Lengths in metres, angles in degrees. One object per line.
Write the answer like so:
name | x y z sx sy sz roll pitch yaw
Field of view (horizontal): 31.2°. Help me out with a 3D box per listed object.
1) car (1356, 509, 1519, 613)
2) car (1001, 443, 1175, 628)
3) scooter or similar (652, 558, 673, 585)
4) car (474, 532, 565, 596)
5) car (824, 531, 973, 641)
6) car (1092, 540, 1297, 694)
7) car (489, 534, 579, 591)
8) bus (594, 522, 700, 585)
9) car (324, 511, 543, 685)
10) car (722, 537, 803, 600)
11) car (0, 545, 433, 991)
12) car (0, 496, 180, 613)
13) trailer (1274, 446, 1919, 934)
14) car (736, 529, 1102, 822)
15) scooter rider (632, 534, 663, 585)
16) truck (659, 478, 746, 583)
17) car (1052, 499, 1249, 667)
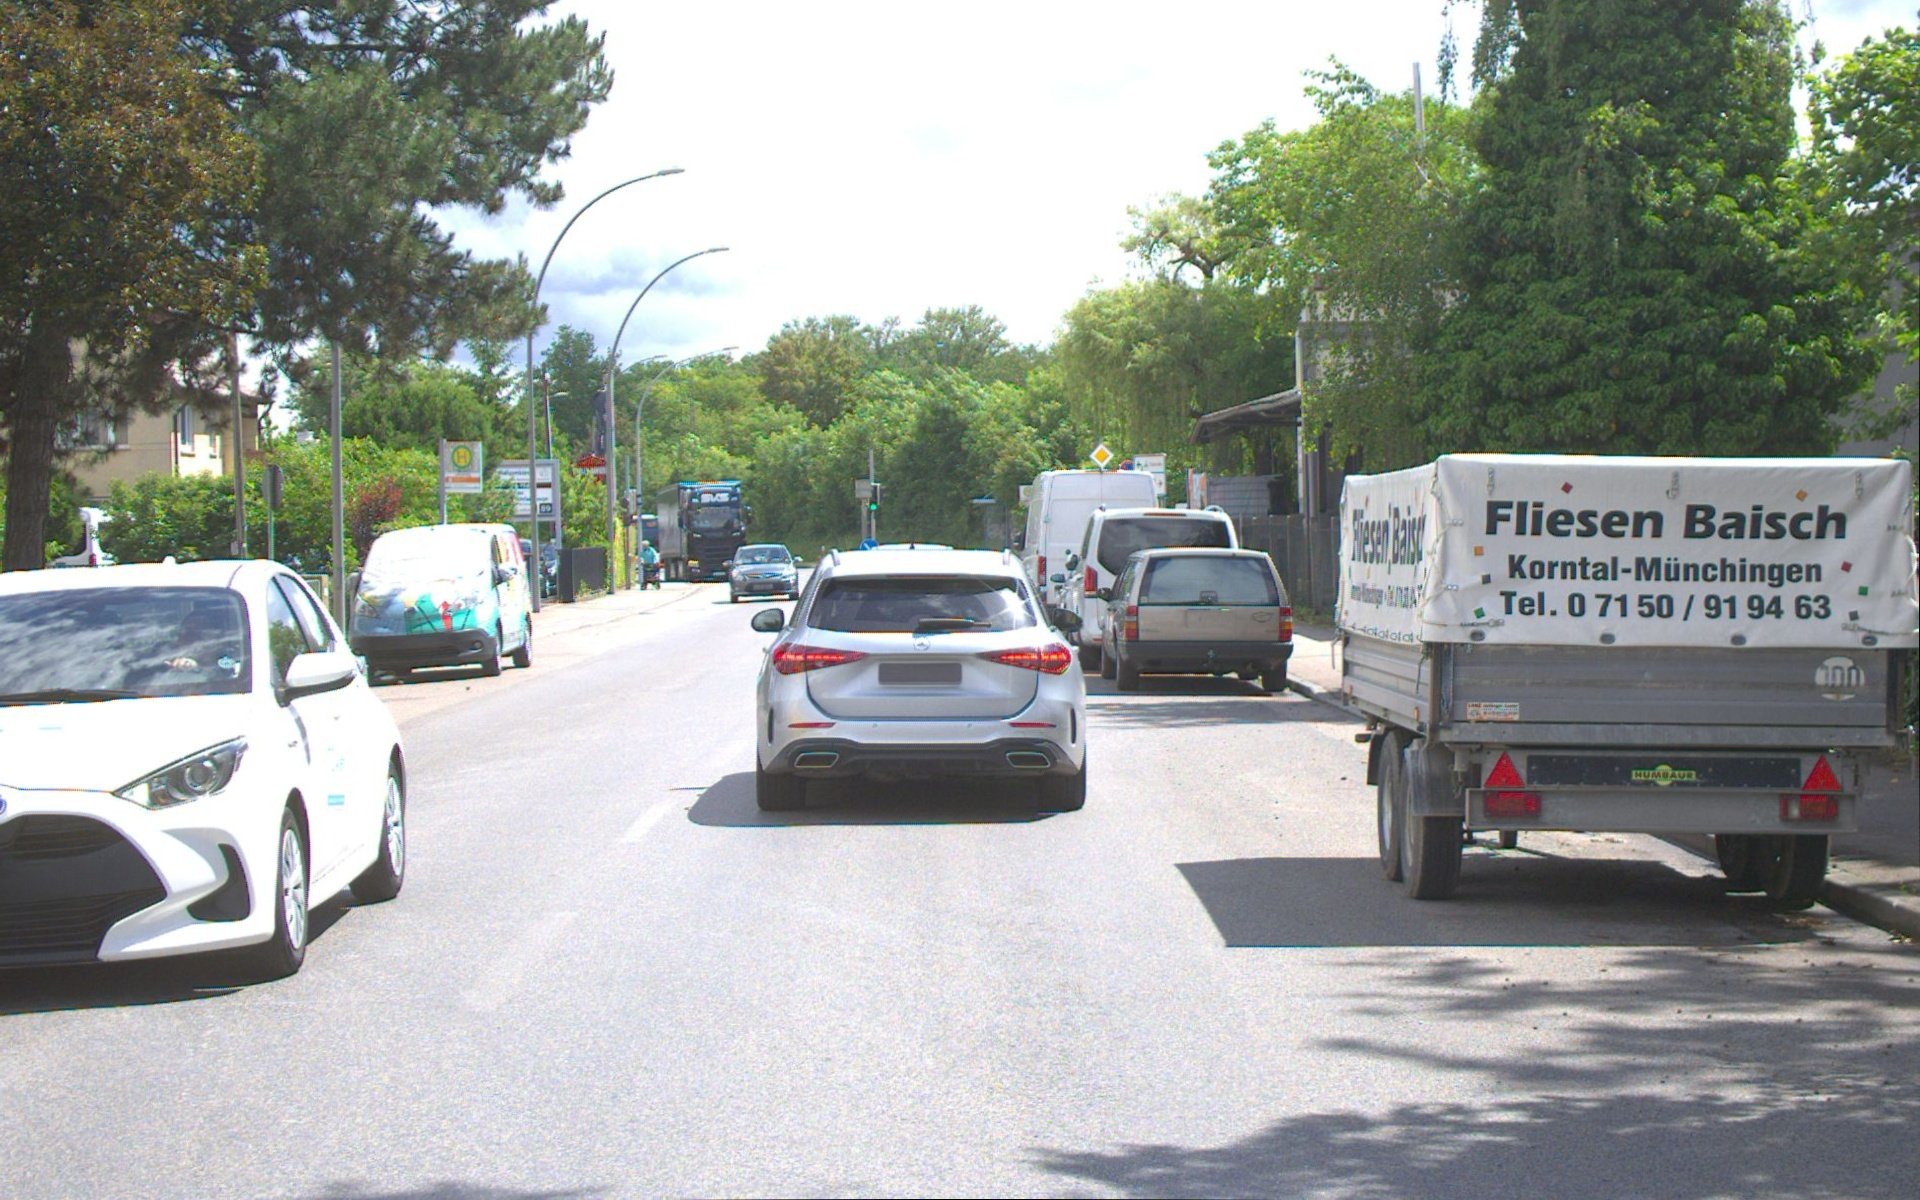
car | 7.324 -0.633 53.108 1.764 1.484 4.927 -1 2 -1
car | 1.942 -1.017 54.267 2.215 2.680 6.658 -2 1 -2
scooter or similar | -9.346 -0.897 107.980 0.611 0.829 0.659 1 1 0
car | -11.663 -0.974 91.286 2.031 1.589 4.285 -2 1 -3
car | -0.936 -0.235 49.887 1.884 1.503 4.001 -1 1 -5
car | 2.368 0.121 35.841 1.754 1.445 4.994 1 1 0
car | -11.835 -1.069 95.666 2.153 1.501 4.268 -2 1 -3
bus | -17.129 -2.500 187.265 2.777 3.255 12.126 -2 1 -19
car | -6.394 -0.081 42.250 1.833 1.847 4.896 -4 2 0
car | -5.089 -0.837 88.939 1.900 1.512 4.319 -2 1 -1
car | -3.249 0.531 13.183 1.982 1.415 4.001 -2 1 -3
car | -20.173 -1.077 79.662 2.412 2.487 6.135 -3 1 3
trailer | 2.641 0.294 15.322 1.993 1.816 4.765 1 1 0
car | -0.226 0.356 19.907 1.884 1.503 4.000 -1 1 0
scooter rider | -9.863 -1.293 108.440 0.878 1.584 0.796 -1 1 0
truck | -10.614 -2.794 140.915 2.428 4.117 9.153 1 0 -11
car | 2.220 -0.248 41.444 1.905 1.879 5.390 1 1 -2
